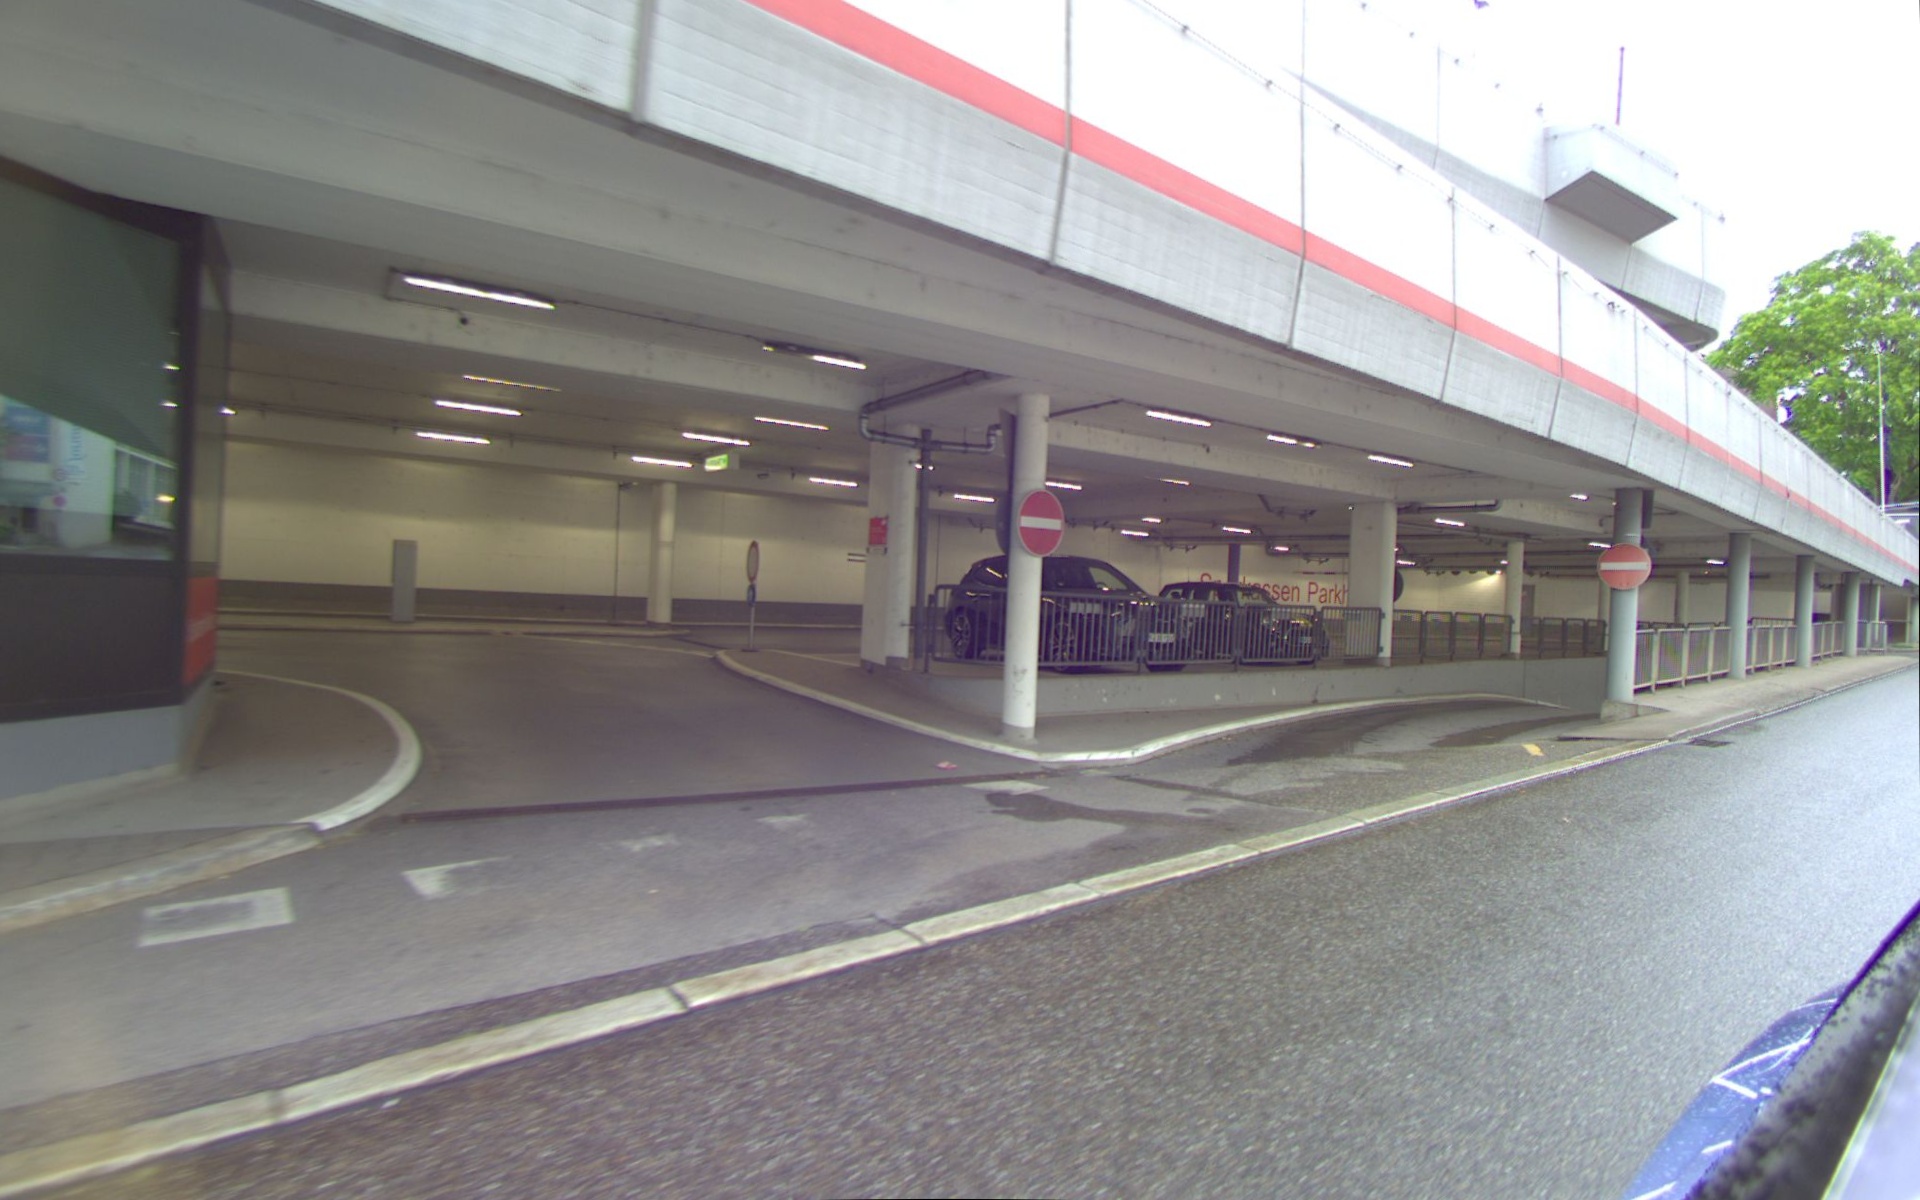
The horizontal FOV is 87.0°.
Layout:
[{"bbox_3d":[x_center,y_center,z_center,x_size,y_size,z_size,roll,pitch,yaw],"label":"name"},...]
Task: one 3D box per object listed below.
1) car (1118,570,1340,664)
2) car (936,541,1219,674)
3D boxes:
[{"bbox_3d":[4.942,0.266,19.026,1.772,1.524,3.737,2,1,-34],"label":"car"},{"bbox_3d":[1.528,0.068,15.045,1.786,1.660,4.595,-1,1,-30],"label":"car"}]
